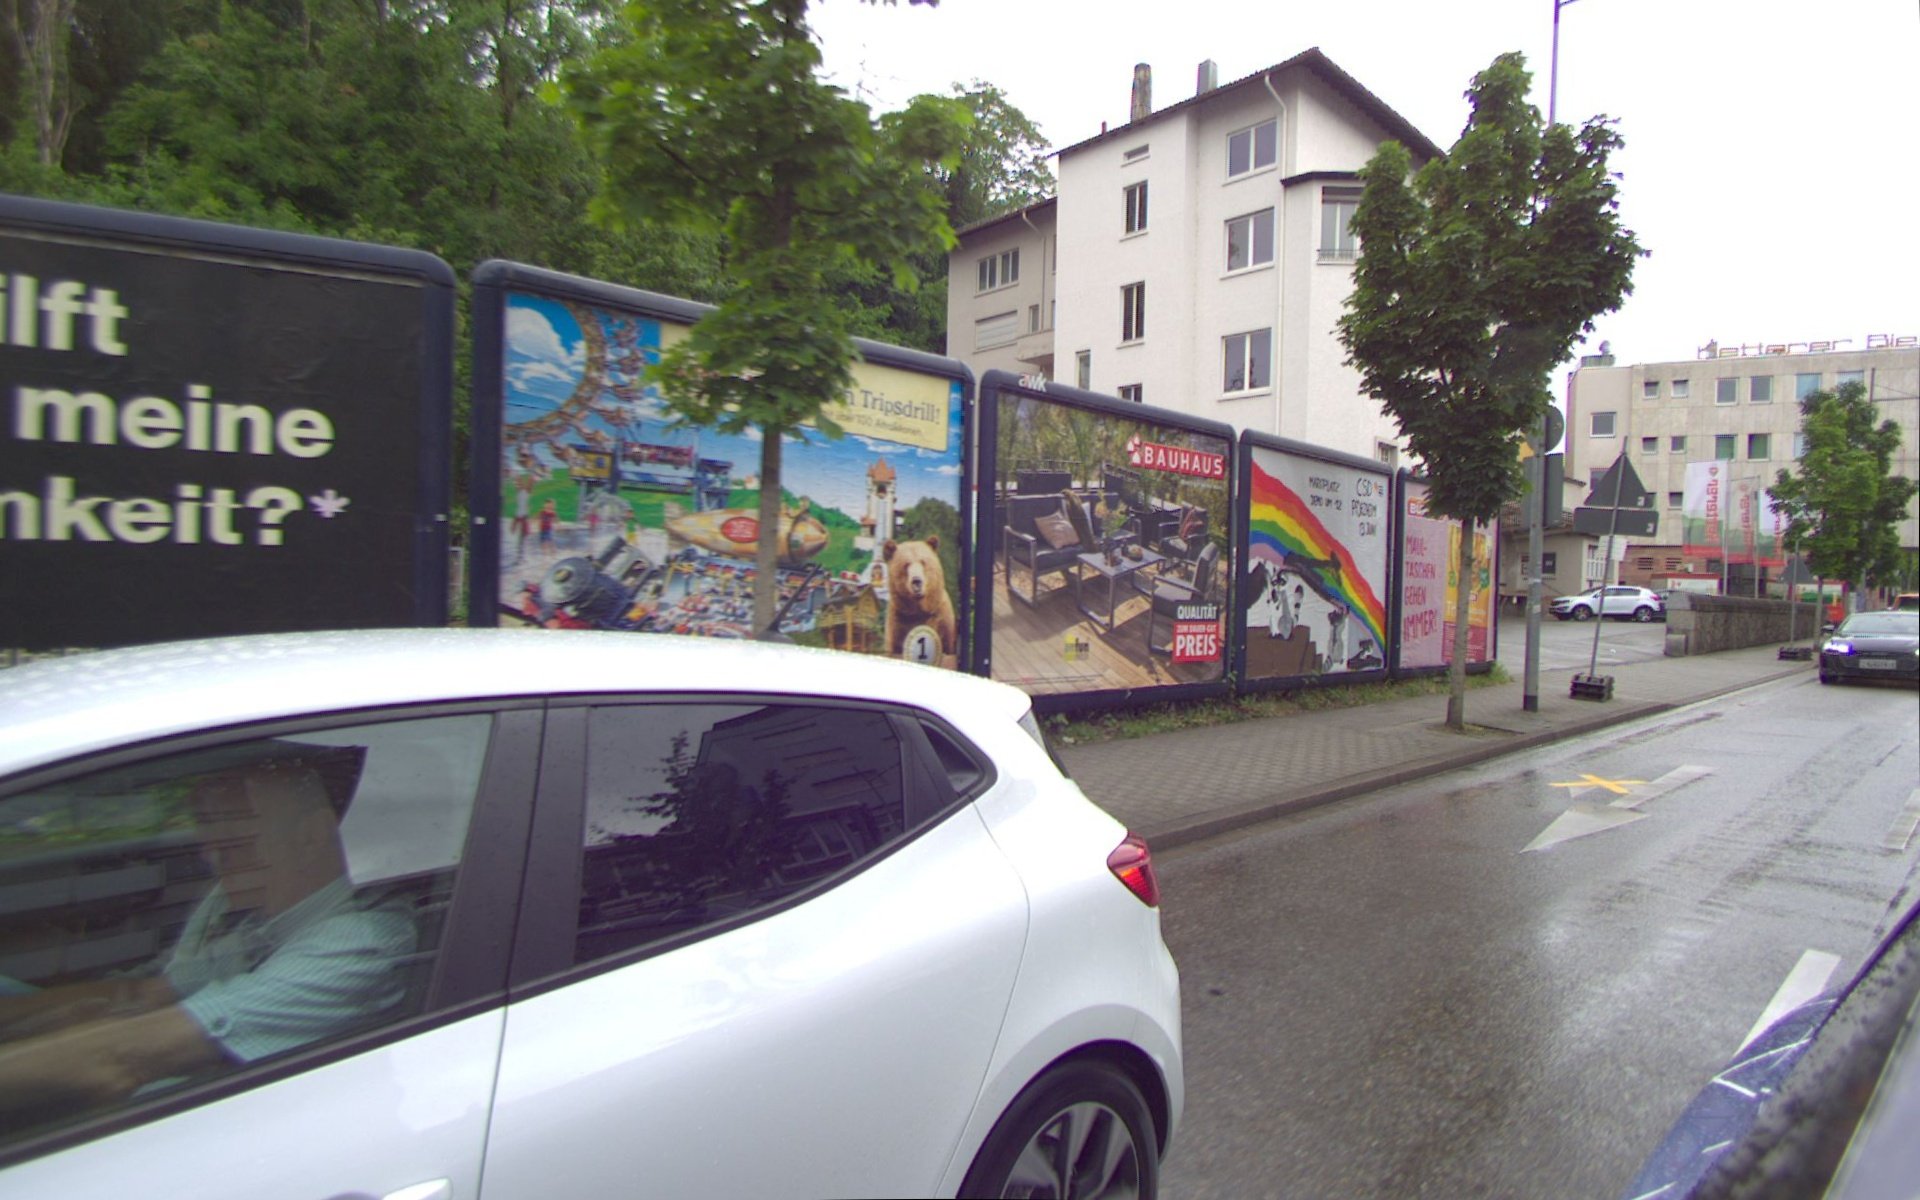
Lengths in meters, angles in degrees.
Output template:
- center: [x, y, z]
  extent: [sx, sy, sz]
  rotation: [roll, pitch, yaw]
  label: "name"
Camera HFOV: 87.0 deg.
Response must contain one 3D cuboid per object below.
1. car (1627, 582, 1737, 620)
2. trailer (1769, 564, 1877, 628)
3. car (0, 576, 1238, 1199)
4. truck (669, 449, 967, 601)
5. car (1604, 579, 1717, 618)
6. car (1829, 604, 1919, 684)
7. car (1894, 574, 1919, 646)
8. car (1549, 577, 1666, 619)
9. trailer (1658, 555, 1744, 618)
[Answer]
- center: [37.460, 0.046, 52.624]
  extent: [4.220, 1.669, 1.857]
  rotation: [4, 1, 18]
  label: "car"
- center: [47.100, -0.312, 55.424]
  extent: [2.605, 3.215, 5.677]
  rotation: [3, 2, 21]
  label: "trailer"
- center: [-1.394, 0.706, 1.513]
  extent: [3.800, 1.413, 1.668]
  rotation: [2, 2, -42]
  label: "car"
- center: [-3.362, -1.696, 24.989]
  extent: [6.802, 3.255, 2.640]
  rotation: [1, 3, -38]
  label: "truck"
- center: [33.060, -0.097, 47.879]
  extent: [3.939, 1.602, 1.765]
  rotation: [3, 1, 13]
  label: "car"
- center: [18.529, 0.789, 19.813]
  extent: [4.555, 1.421, 1.791]
  rotation: [0, -1, -43]
  label: "car"
- center: [30.510, 0.333, 31.251]
  extent: [5.448, 2.115, 2.104]
  rotation: [1, 0, -44]
  label: "car"
- center: [29.183, -0.086, 45.736]
  extent: [3.918, 1.588, 1.920]
  rotation: [4, -2, 10]
  label: "car"
- center: [41.873, -0.771, 57.406]
  extent: [2.722, 3.348, 6.020]
  rotation: [2, 1, 25]
  label: "trailer"
